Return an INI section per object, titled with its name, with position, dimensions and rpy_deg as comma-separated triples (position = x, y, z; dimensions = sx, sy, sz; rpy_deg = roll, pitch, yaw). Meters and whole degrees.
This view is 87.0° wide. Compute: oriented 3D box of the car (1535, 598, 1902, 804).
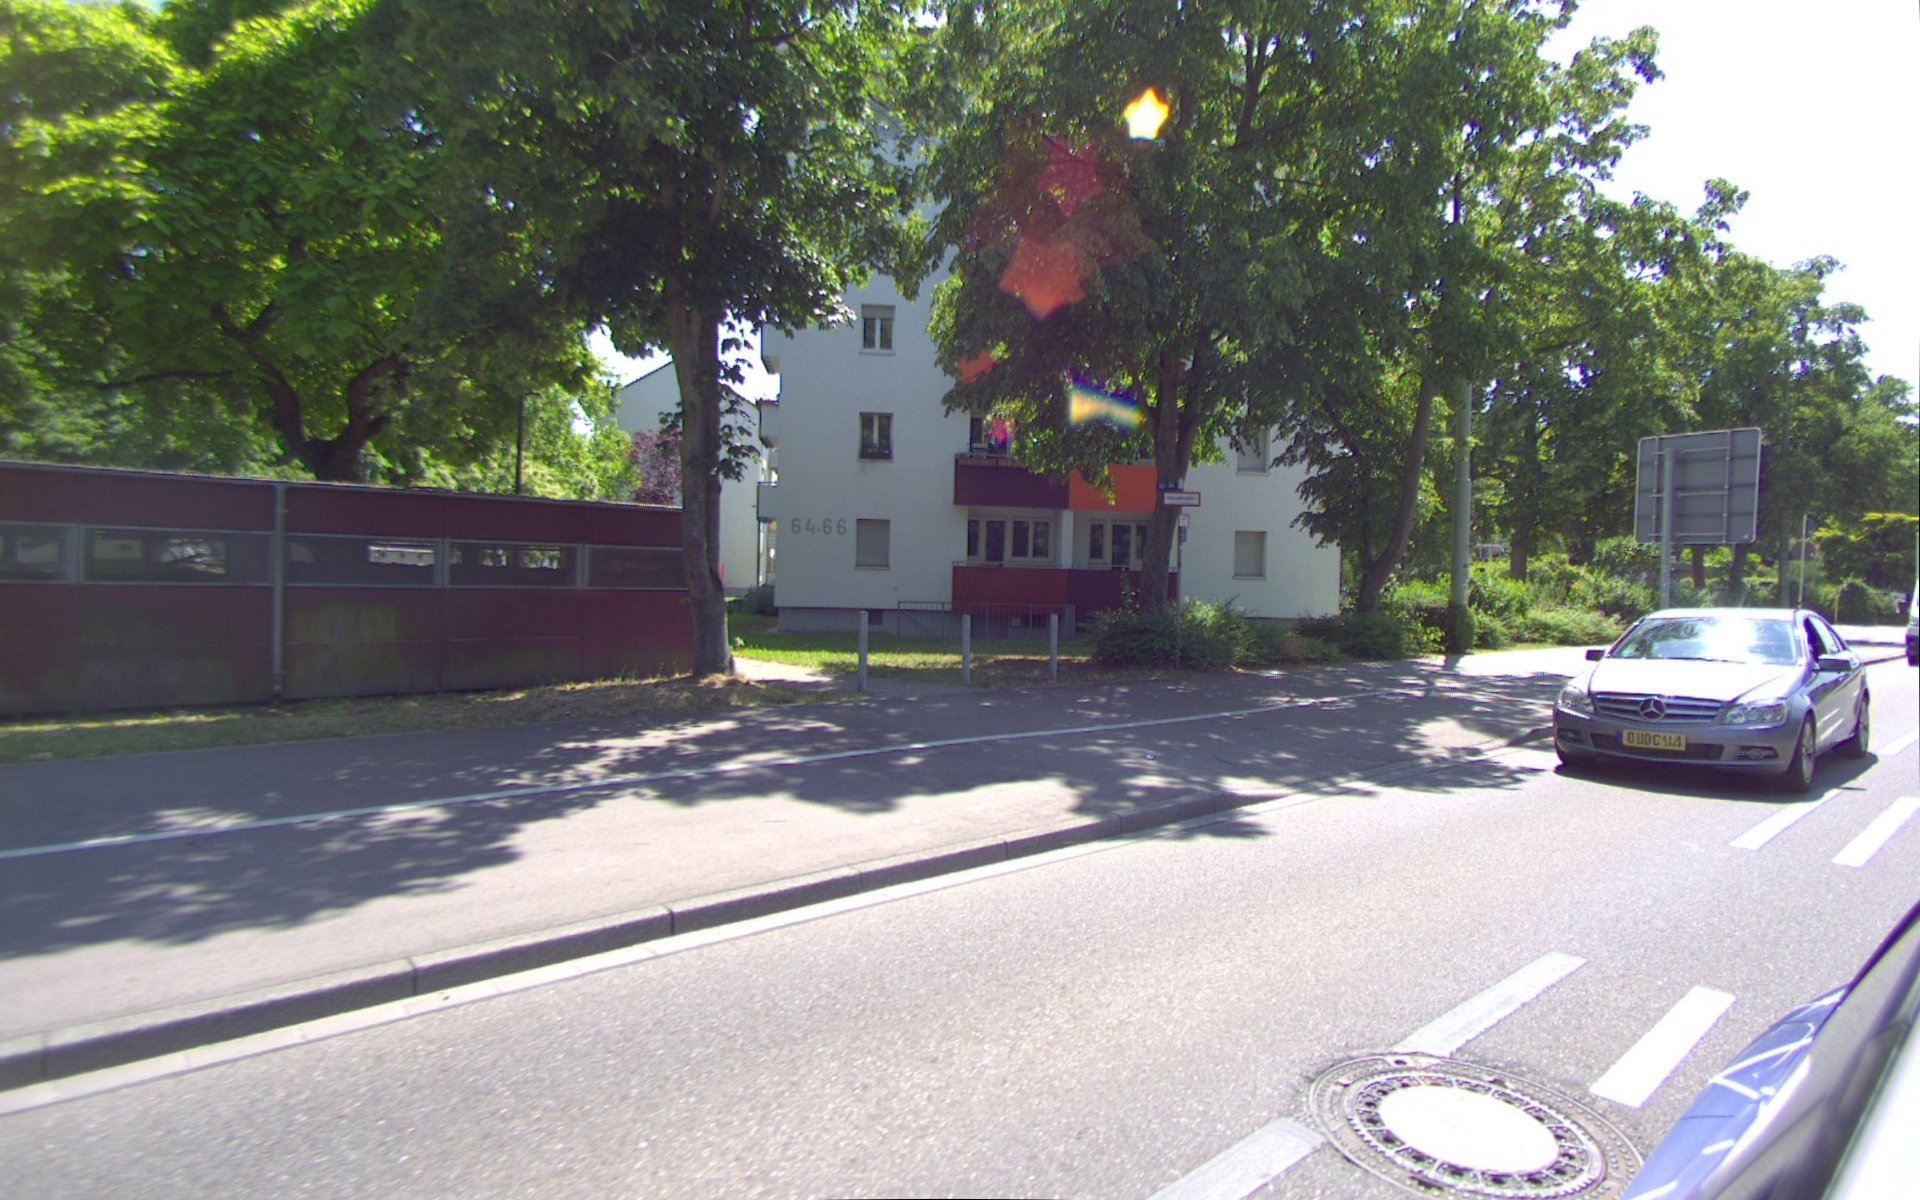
[car]
position = 7.111, 0.752, 9.357
dimensions = 3.900, 1.478, 1.902
rpy_deg = 1, 0, -40

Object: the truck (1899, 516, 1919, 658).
[truck]
position = 26.254, -0.286, 25.659
dimensions = 8.159, 3.319, 2.295
rpy_deg = 0, 1, -38
